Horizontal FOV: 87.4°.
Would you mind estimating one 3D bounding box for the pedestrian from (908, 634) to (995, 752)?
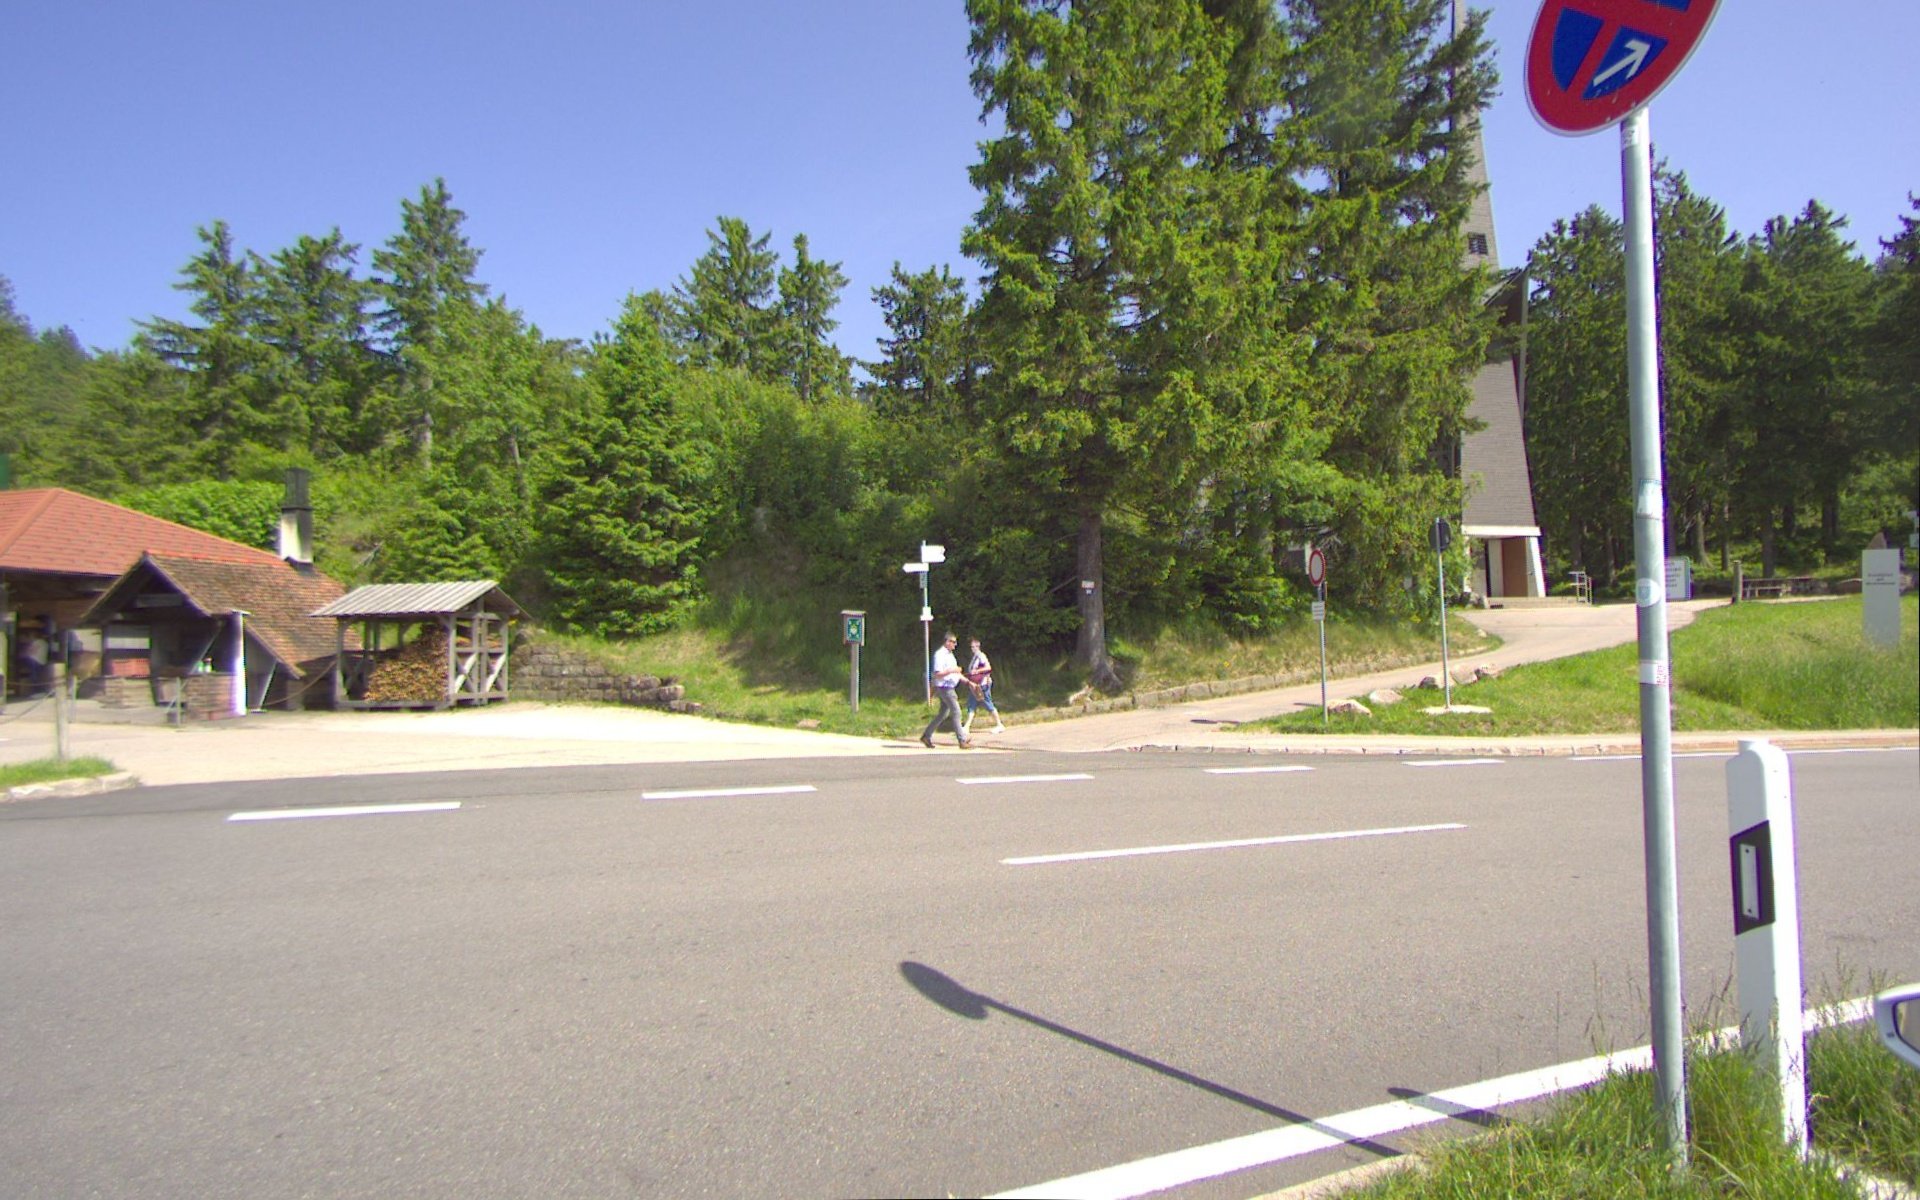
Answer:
[{"bbox_3d":[-0.110,1.384,15.243,1.139,1.720,0.980,0,-3,11],"label":"pedestrian"}]

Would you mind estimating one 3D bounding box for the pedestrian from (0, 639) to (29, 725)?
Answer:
[{"bbox_3d":[-19.395,1.632,20.106,0.788,1.721,0.839,-1,-3,26],"label":"pedestrian"}]

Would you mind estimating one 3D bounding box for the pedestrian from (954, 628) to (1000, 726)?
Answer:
[{"bbox_3d":[0.293,1.371,17.974,0.671,1.703,0.720,1,-3,-13],"label":"pedestrian"}]
